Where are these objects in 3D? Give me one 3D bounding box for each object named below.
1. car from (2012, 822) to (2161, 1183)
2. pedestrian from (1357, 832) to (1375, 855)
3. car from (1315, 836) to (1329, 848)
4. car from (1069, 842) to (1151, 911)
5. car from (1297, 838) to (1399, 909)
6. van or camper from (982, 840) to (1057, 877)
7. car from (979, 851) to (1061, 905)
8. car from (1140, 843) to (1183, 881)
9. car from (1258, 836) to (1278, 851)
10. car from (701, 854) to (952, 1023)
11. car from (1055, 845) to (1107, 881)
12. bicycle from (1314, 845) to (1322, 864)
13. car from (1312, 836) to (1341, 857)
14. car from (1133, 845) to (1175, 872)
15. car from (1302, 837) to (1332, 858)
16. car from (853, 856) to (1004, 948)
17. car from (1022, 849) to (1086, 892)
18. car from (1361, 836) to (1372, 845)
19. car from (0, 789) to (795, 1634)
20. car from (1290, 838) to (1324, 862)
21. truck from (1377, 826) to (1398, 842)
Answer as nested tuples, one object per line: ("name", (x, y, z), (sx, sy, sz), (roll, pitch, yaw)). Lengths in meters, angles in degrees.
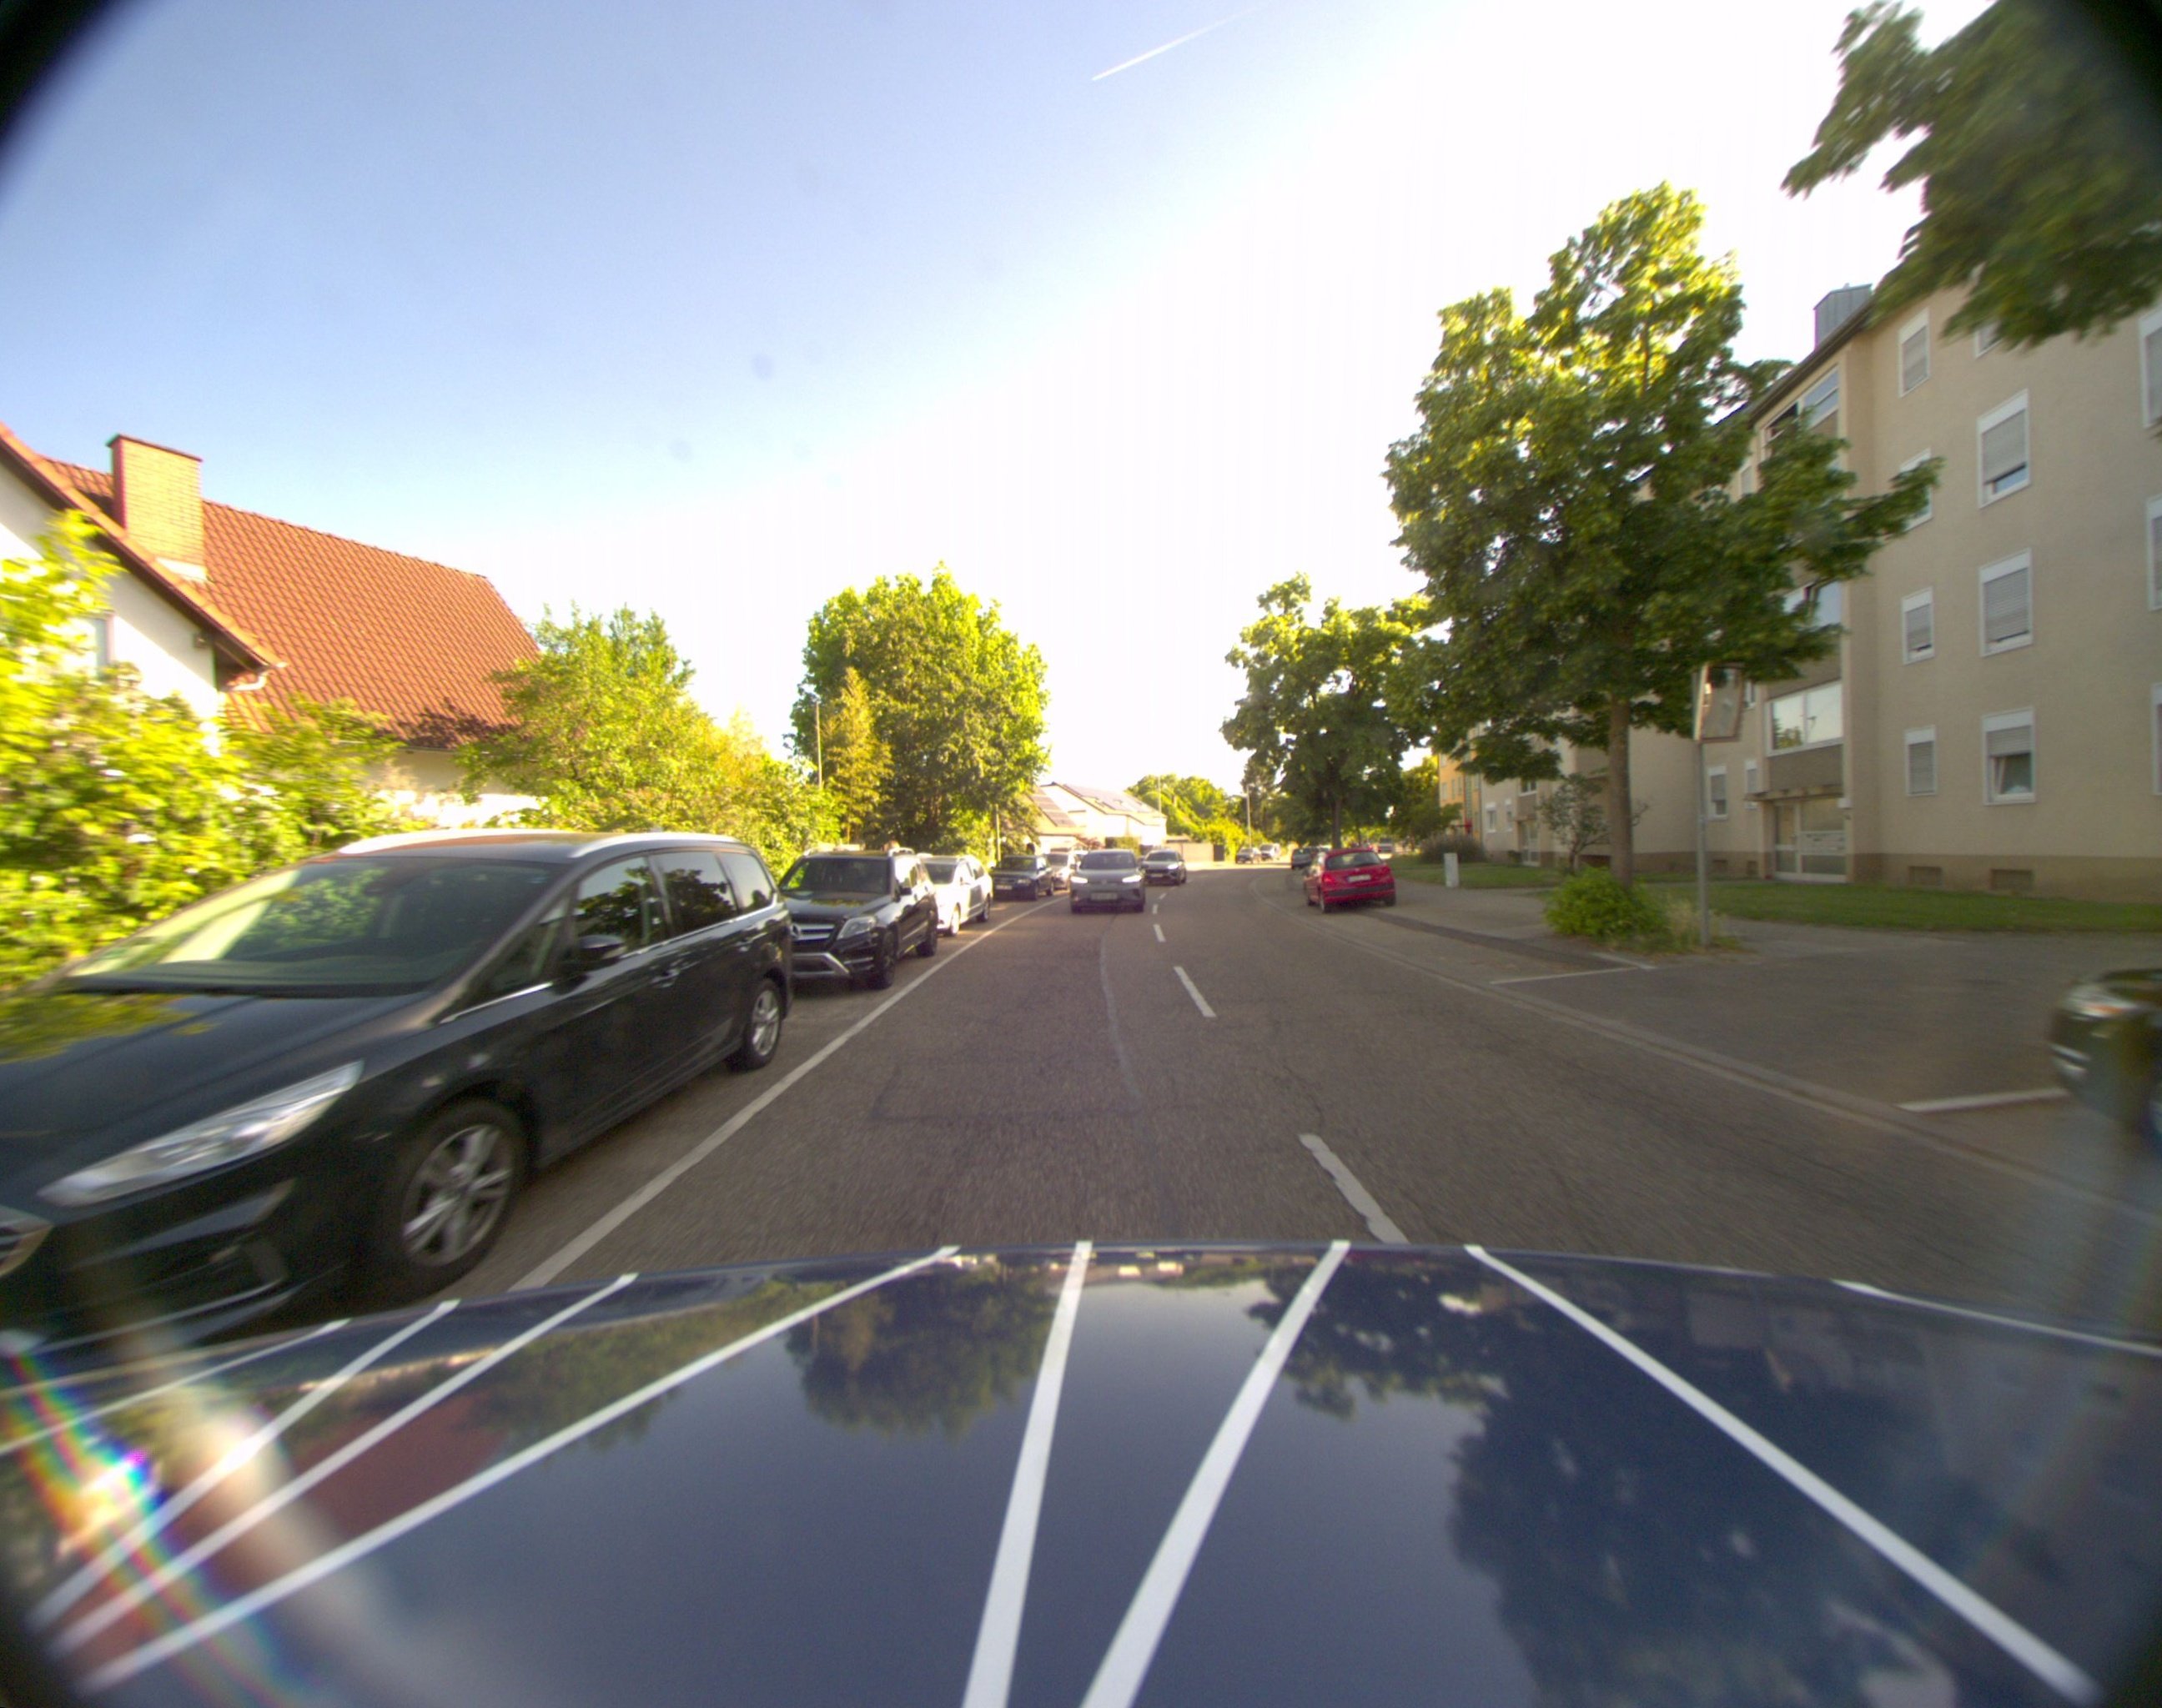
("car", (5.479, 0.587, 1.417), (1.726, 1.485, 4.542), (-8, 1, -1))
("pedestrian", (20.028, -0.726, 53.436), (0.959, 1.619, 0.734), (-1, 1, 38))
("car", (34.689, -1.739, 109.369), (1.638, 1.569, 3.709), (-2, 0, 22))
("car", (0.873, 0.538, 20.370), (1.776, 1.624, 3.706), (-2, 0, 8))
("car", (6.694, 0.423, 19.422), (1.660, 1.485, 3.911), (-6, 0, 9))
("van or camper", (-3.586, 0.245, 44.454), (3.843, 2.002, 1.954), (-2, 1, 27))
("car", (-1.930, 0.715, 25.347), (1.657, 1.555, 4.467), (-2, 1, 9))
("car", (3.657, 0.320, 34.132), (1.579, 1.569, 3.706), (-2, 0, 10))
("car", (20.824, -1.192, 84.501), (1.638, 1.569, 3.709), (-2, 0, 22))
("car", (-3.021, 0.881, 10.115), (1.767, 1.666, 4.394), (-2, 1, 1))
("car", (0.039, 0.395, 35.890), (1.635, 1.565, 3.707), (1, 1, 13))
("bicycle", (12.898, 0.046, 41.398), (0.357, 1.001, 1.201), (-3, -1, 18))
("car", (19.841, -0.615, 61.297), (1.649, 1.530, 3.710), (-2, 0, 26))
("car", (4.959, 0.283, 51.107), (1.774, 1.727, 3.709), (1, 1, 22))
("car", (17.969, -0.502, 57.784), (1.649, 1.530, 3.710), (-2, 0, 26))
("car", (-3.010, 0.889, 16.140), (1.766, 1.555, 4.663), (-2, 1, 6))
("car", (-1.019, 0.616, 31.165), (1.721, 1.565, 4.003), (1, 1, 11))
("car", (46.771, -2.193, 124.583), (1.544, 1.456, 3.709), (-2, 0, 22))
("car", (-3.148, 0.776, 3.806), (1.747, 1.802, 4.428), (-2, 1, -1))
("car", (15.713, -0.294, 52.703), (1.649, 1.530, 3.710), (-2, 0, 26))
("truck", (47.791, -3.089, 118.428), (2.408, 2.353, 4.533), (-2, 1, 29))
